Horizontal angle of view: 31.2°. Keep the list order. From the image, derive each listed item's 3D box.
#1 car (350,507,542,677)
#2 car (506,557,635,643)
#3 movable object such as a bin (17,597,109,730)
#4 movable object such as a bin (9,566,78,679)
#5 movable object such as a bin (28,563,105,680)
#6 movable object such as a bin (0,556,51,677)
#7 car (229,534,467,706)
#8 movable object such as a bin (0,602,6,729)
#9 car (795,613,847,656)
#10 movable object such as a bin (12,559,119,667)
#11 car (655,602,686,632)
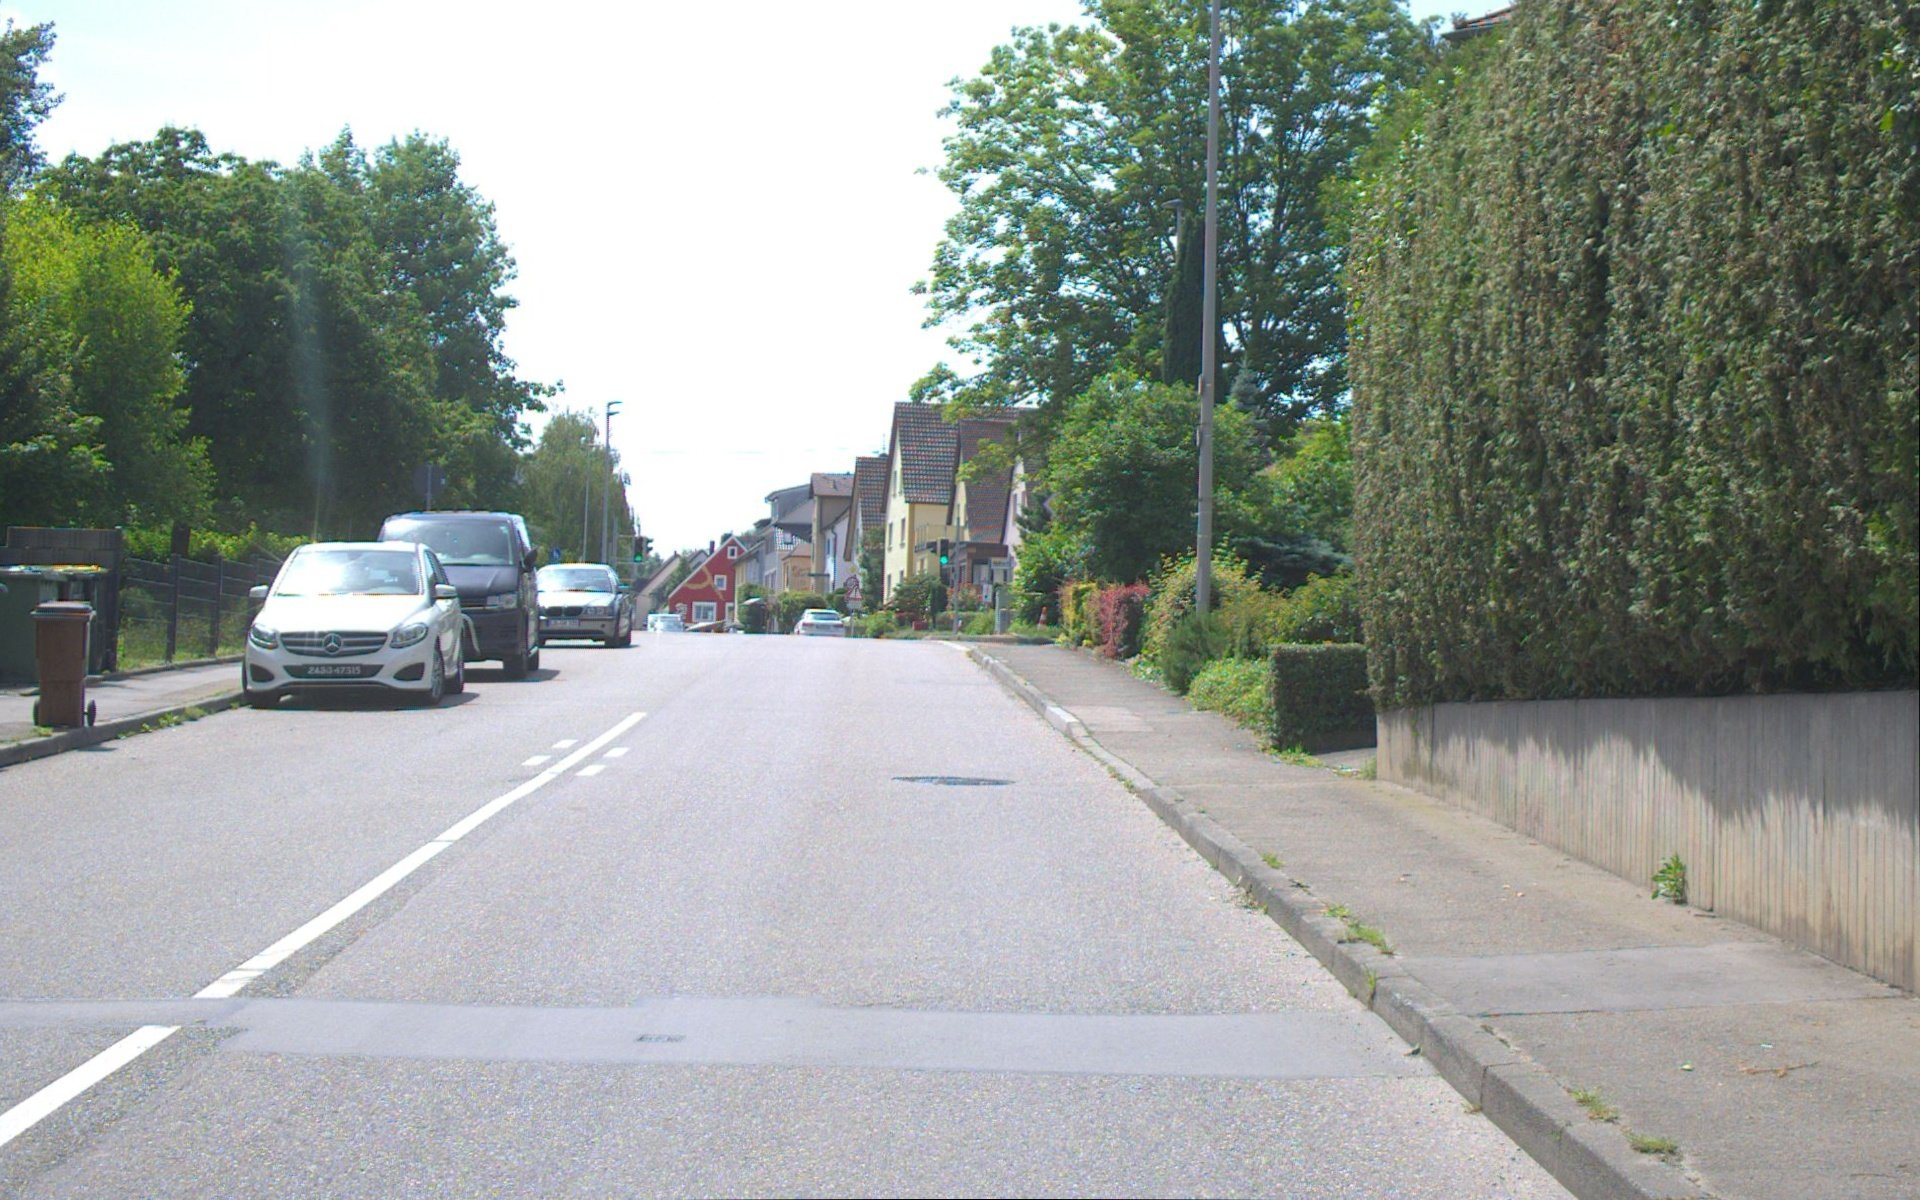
[{"bbox_3d":[-6.082,-0.125,41.155,1.896,1.913,4.871,0,1,-4],"label":"car"},{"bbox_3d":[-6.510,0.008,57.844,1.780,1.390,4.409,0,0,-1],"label":"car"},{"bbox_3d":[-6.796,0.477,26.051,0.506,0.985,0.563,1,0,5],"label":"movable object such as a bin"},{"bbox_3d":[-8.570,0.208,32.156,0.456,1.040,0.560,-1,-1,5],"label":"movable object such as a bin"},{"bbox_3d":[-8.558,0.209,32.930,0.497,1.101,0.710,-1,0,5],"label":"movable object such as a bin"},{"bbox_3d":[-8.654,0.146,31.521,0.516,1.100,0.529,0,0,-2],"label":"movable object such as a bin"},{"bbox_3d":[-5.958,0.149,33.869,1.811,1.544,4.244,1,1,-4],"label":"car"},{"bbox_3d":[-7.206,0.473,24.540,0.563,0.914,0.642,1,0,5],"label":"movable object such as a bin"},{"bbox_3d":[-5.412,1.324,133.415,1.993,1.598,4.000,1,0,-3],"label":"car"},{"bbox_3d":[-8.919,0.128,34.320,0.899,1.066,0.695,0,0,-2],"label":"movable object such as a bin"},{"bbox_3d":[-15.281,0.888,181.309,1.534,1.536,4.305,1,0,-6],"label":"car"}]
